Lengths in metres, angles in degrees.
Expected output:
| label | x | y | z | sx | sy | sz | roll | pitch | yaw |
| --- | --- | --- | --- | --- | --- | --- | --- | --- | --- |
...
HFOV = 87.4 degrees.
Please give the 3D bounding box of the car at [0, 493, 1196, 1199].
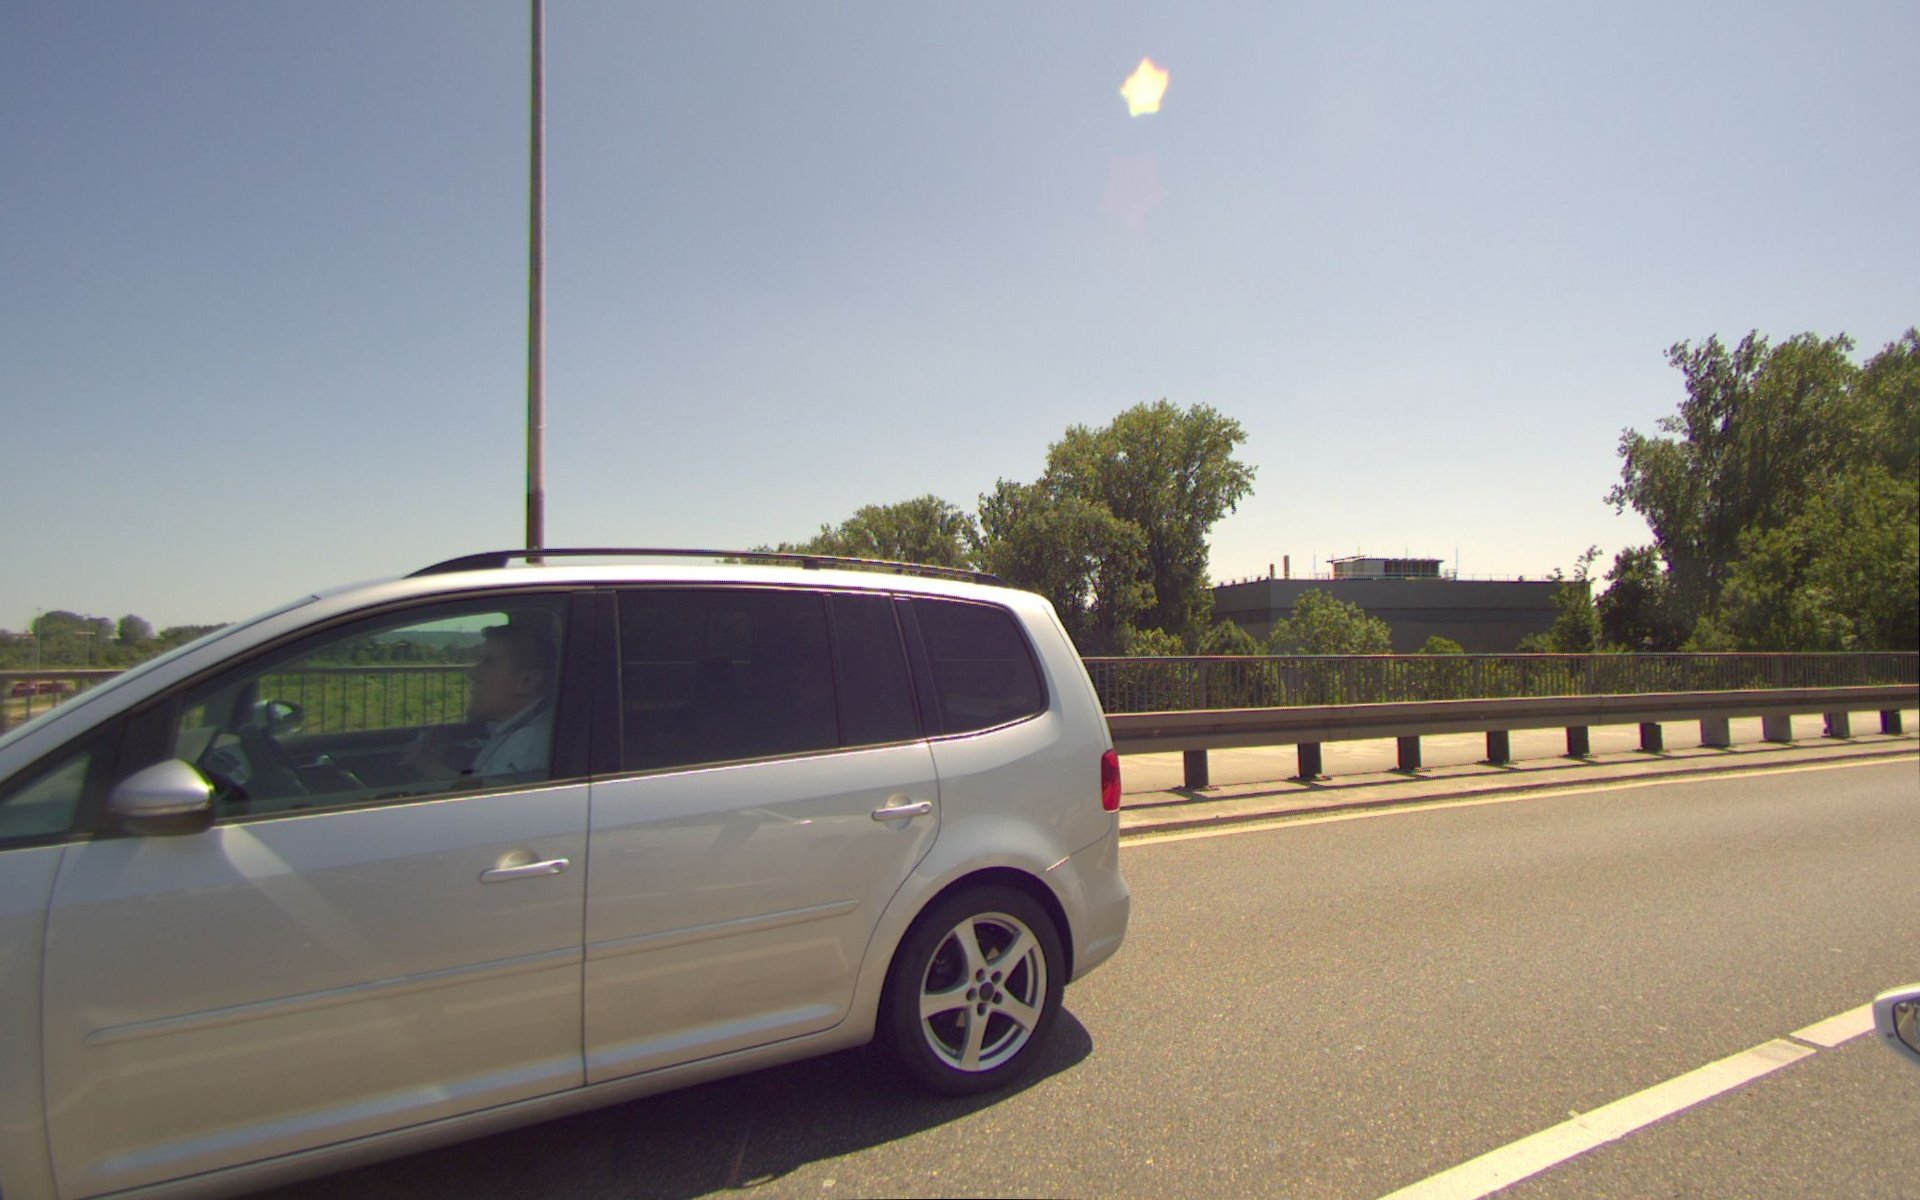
| label | x | y | z | sx | sy | sz | roll | pitch | yaw |
| --- | --- | --- | --- | --- | --- | --- | --- | --- | --- |
| car | -1.367 | 0.659 | 3.147 | 4.070 | 1.636 | 1.707 | 2 | -2 | -30 |
